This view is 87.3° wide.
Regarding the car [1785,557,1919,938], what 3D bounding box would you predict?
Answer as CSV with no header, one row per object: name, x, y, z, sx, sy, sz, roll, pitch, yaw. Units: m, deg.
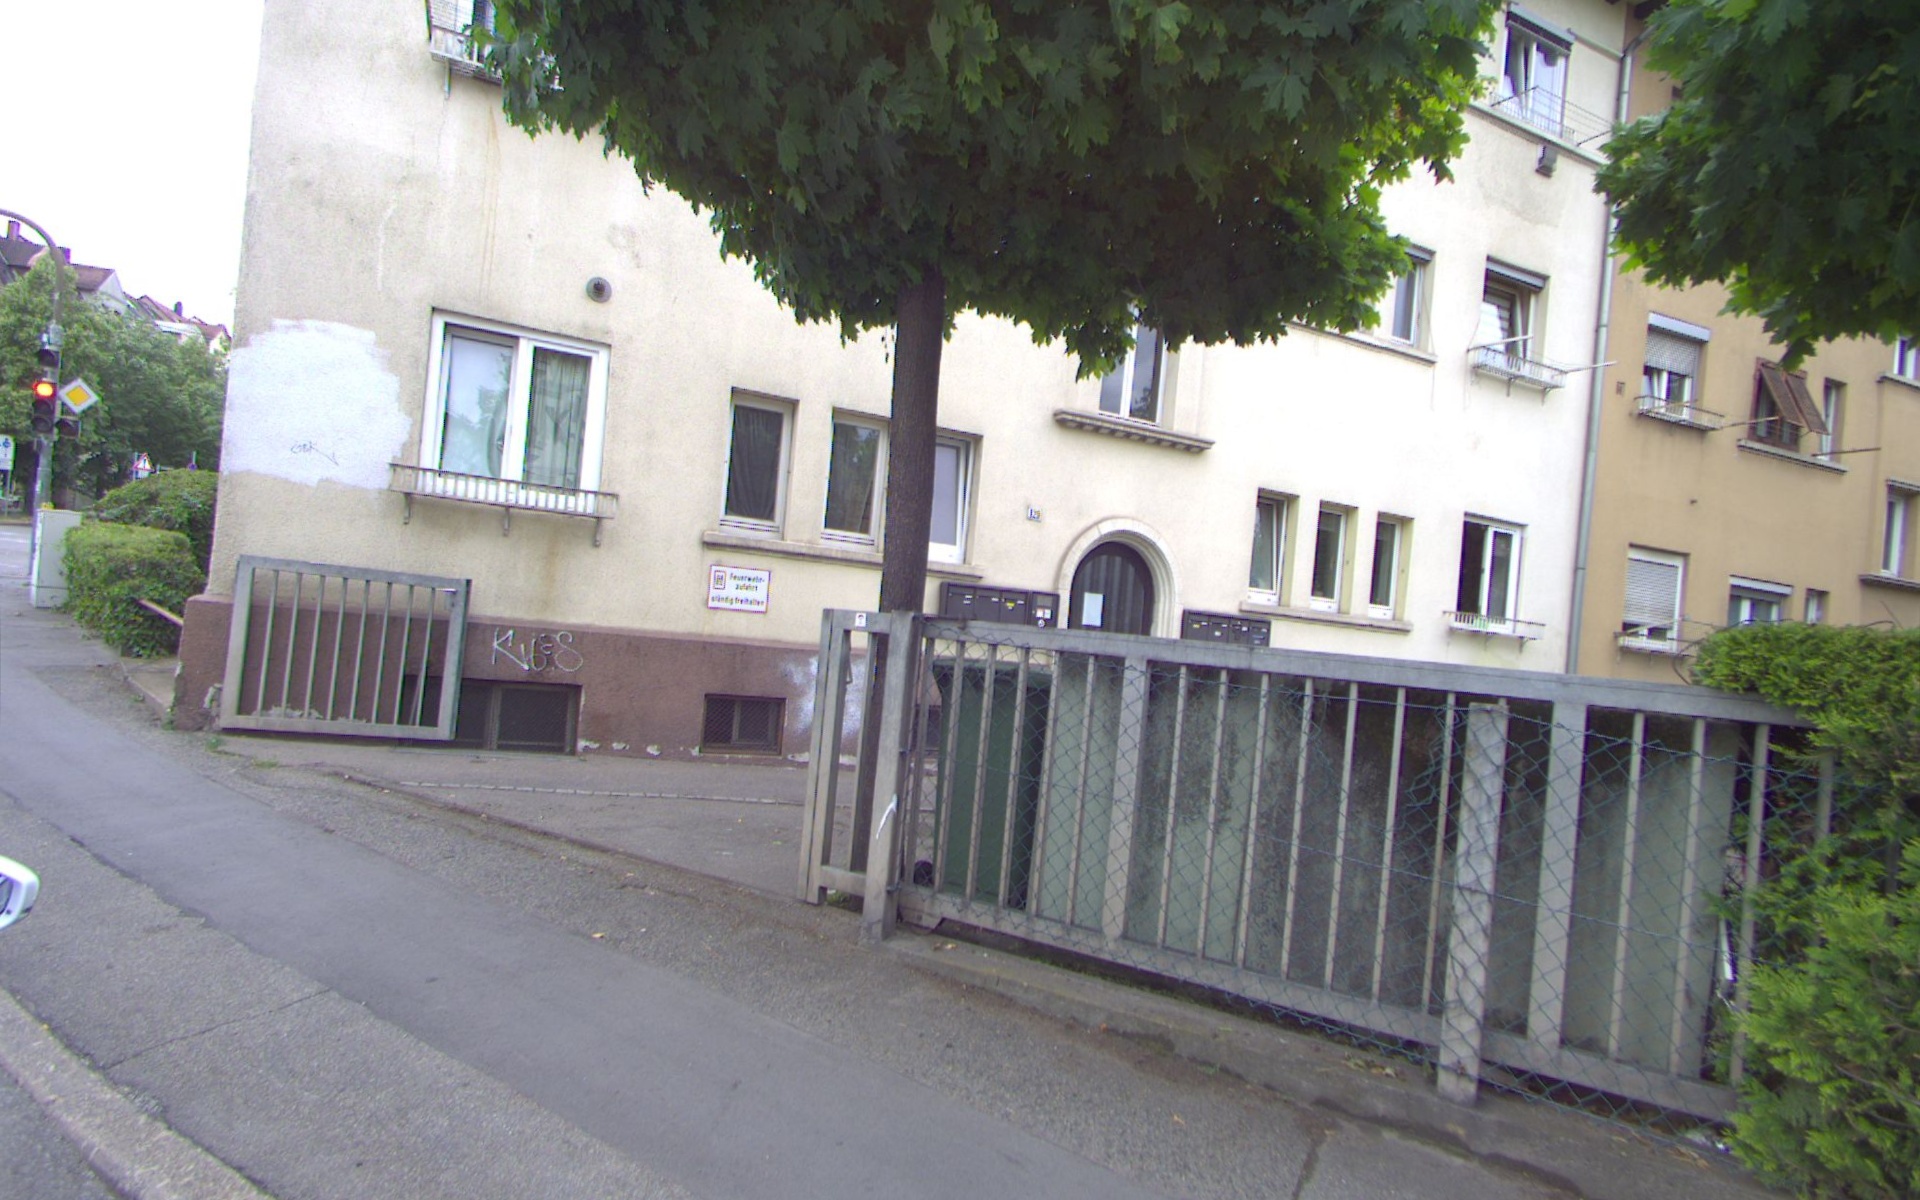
car,5.539,0.791,3.789,3.381,1.477,1.700,6,-2,30
